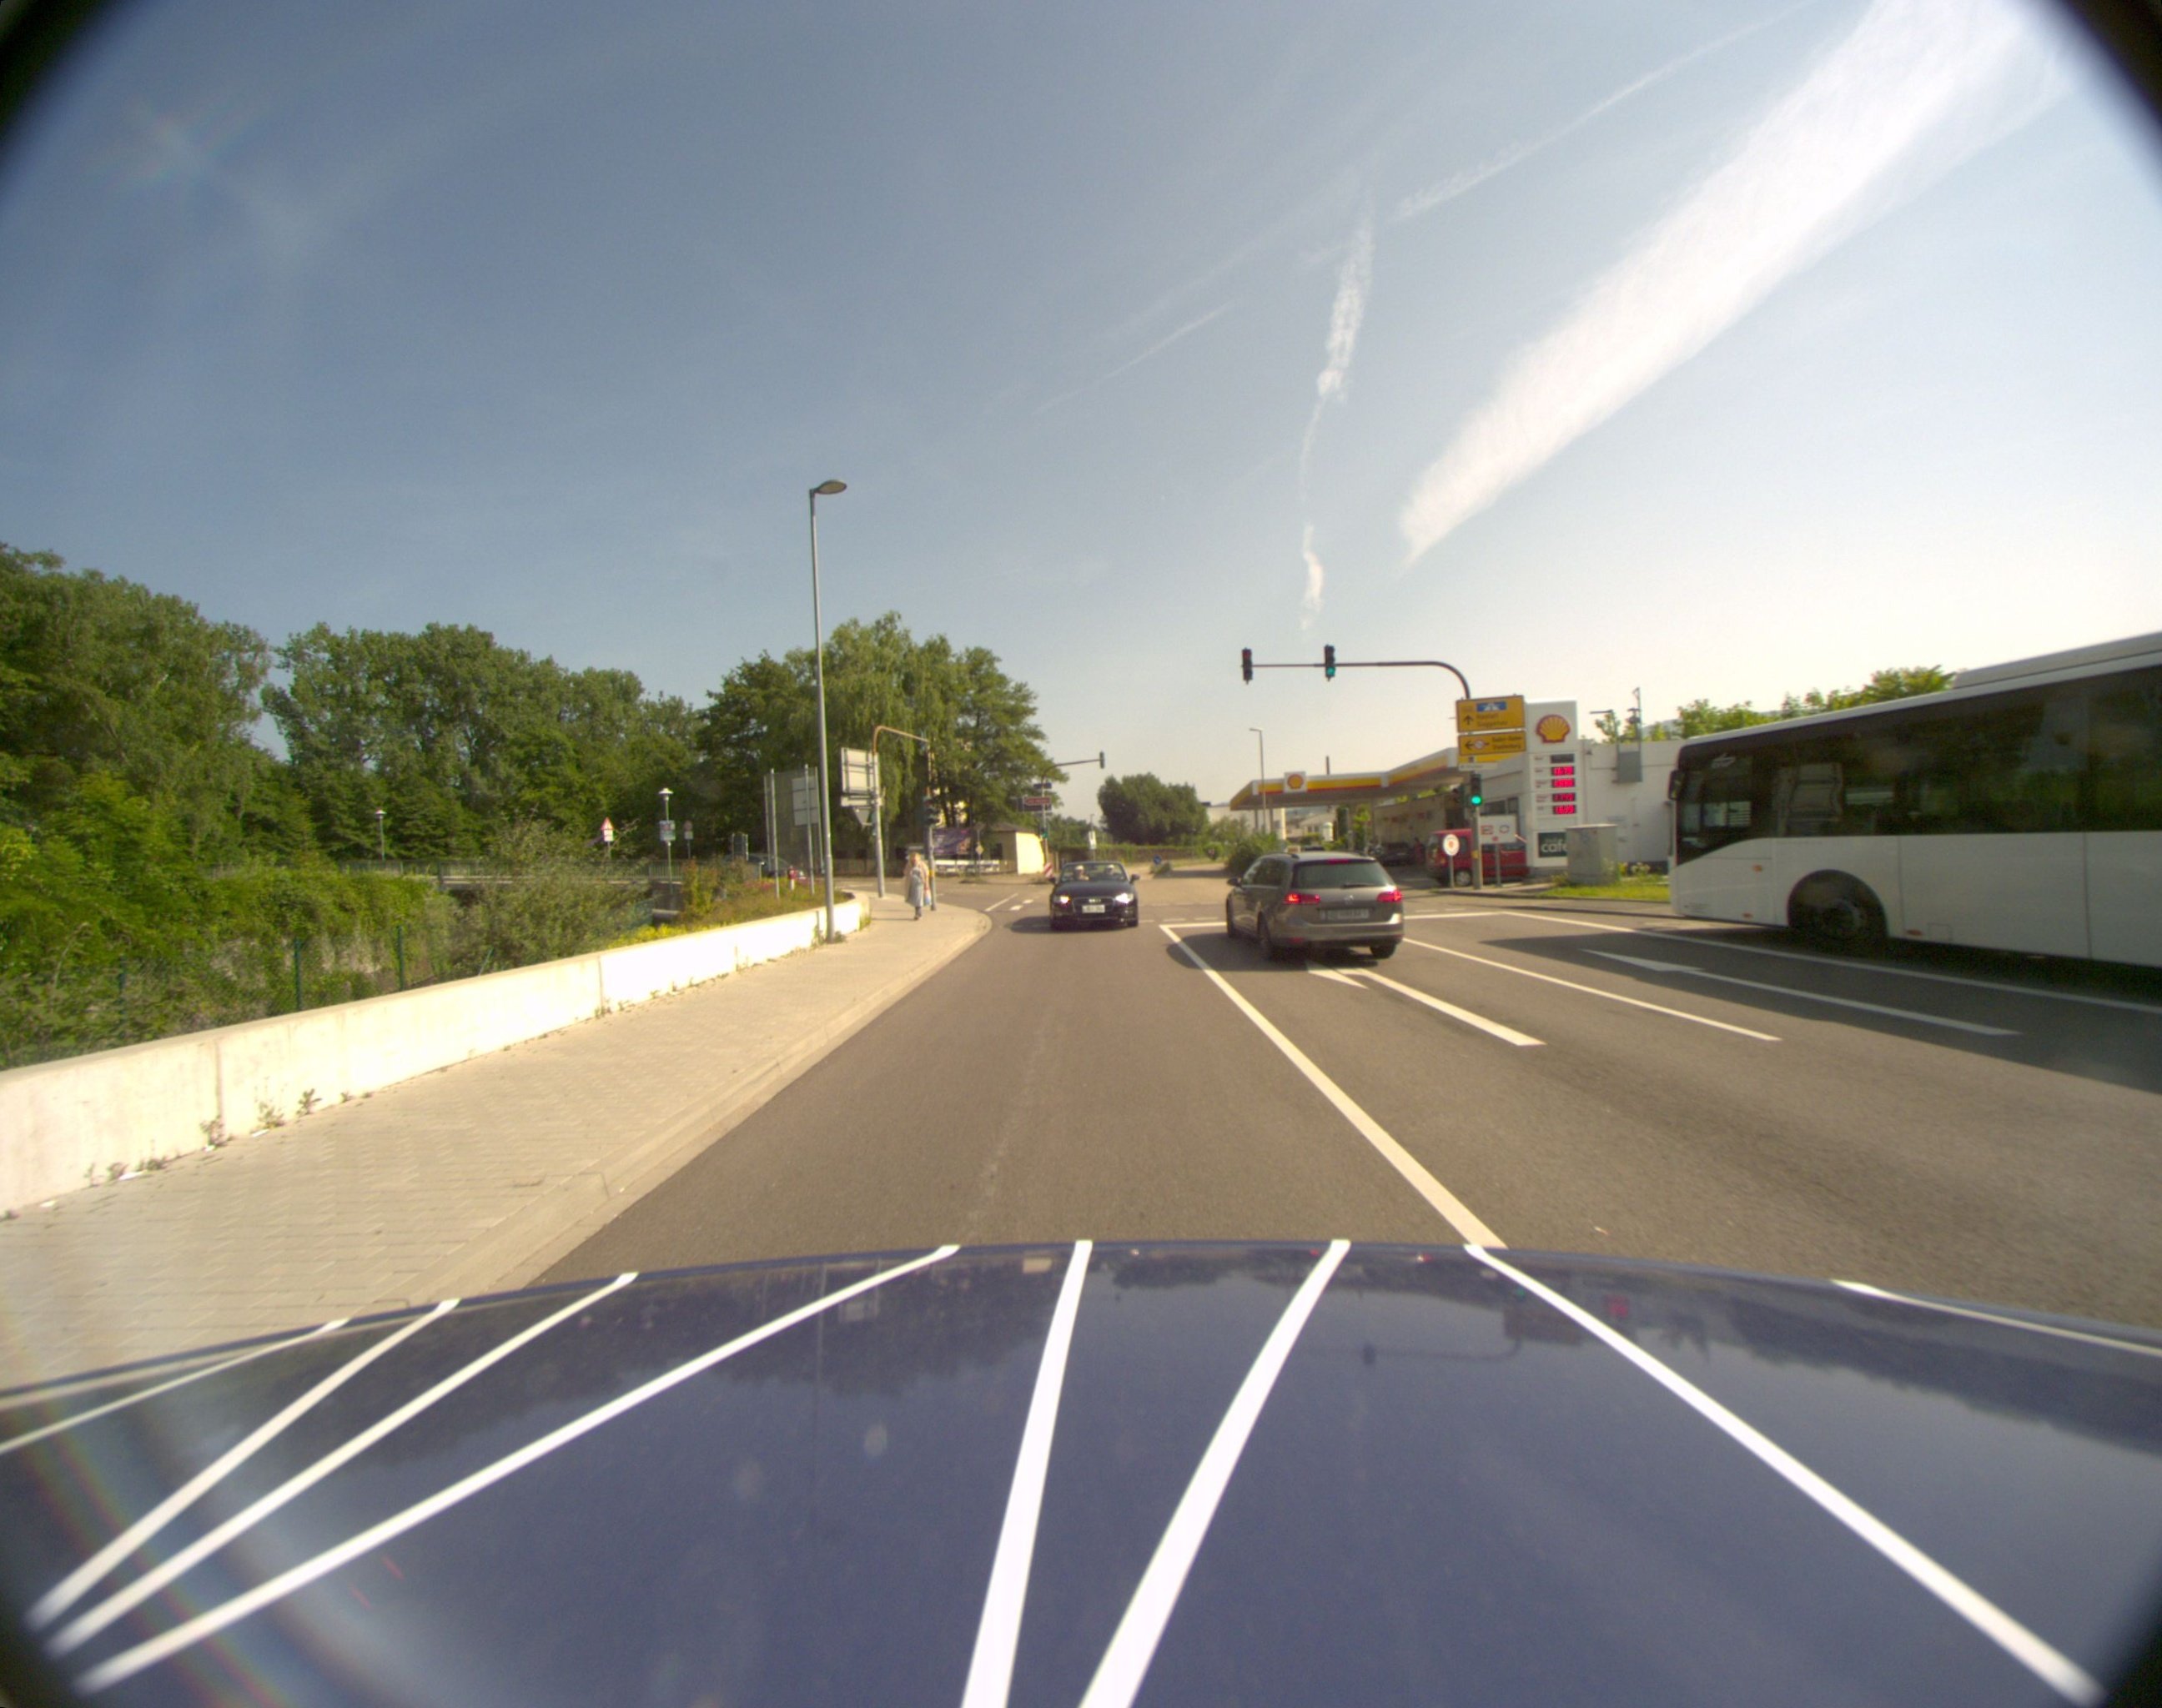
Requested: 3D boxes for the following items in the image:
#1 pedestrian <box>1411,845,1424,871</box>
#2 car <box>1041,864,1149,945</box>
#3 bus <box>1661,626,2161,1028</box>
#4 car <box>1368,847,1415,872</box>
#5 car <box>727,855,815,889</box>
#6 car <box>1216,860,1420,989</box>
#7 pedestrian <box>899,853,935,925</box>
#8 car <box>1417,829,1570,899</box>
[{"bbox_3d":[19.767,0.239,44.666,0.559,1.538,0.535,-1,1,7],"label":"pedestrian"},{"bbox_3d":[0.370,0.925,15.572,1.868,1.323,4.233,-2,0,3],"label":"car"},{"bbox_3d":[10.171,-0.243,5.645,2.627,3.291,11.956,-1,0,0],"label":"bus"},{"bbox_3d":[18.778,0.324,46.090,1.631,1.403,4.229,-1,0,8],"label":"car"},{"bbox_3d":[-14.932,0.825,36.547,4.073,1.509,1.670,1,1,27],"label":"car"},{"bbox_3d":[3.231,0.873,11.281,1.776,1.464,4.219,-1,0,1],"label":"car"},{"bbox_3d":[-3.895,0.808,18.074,0.712,1.661,0.593,-2,1,-4],"label":"pedestrian"},{"bbox_3d":[12.956,0.312,24.050,3.783,1.785,1.703,-5,0,6],"label":"car"}]
